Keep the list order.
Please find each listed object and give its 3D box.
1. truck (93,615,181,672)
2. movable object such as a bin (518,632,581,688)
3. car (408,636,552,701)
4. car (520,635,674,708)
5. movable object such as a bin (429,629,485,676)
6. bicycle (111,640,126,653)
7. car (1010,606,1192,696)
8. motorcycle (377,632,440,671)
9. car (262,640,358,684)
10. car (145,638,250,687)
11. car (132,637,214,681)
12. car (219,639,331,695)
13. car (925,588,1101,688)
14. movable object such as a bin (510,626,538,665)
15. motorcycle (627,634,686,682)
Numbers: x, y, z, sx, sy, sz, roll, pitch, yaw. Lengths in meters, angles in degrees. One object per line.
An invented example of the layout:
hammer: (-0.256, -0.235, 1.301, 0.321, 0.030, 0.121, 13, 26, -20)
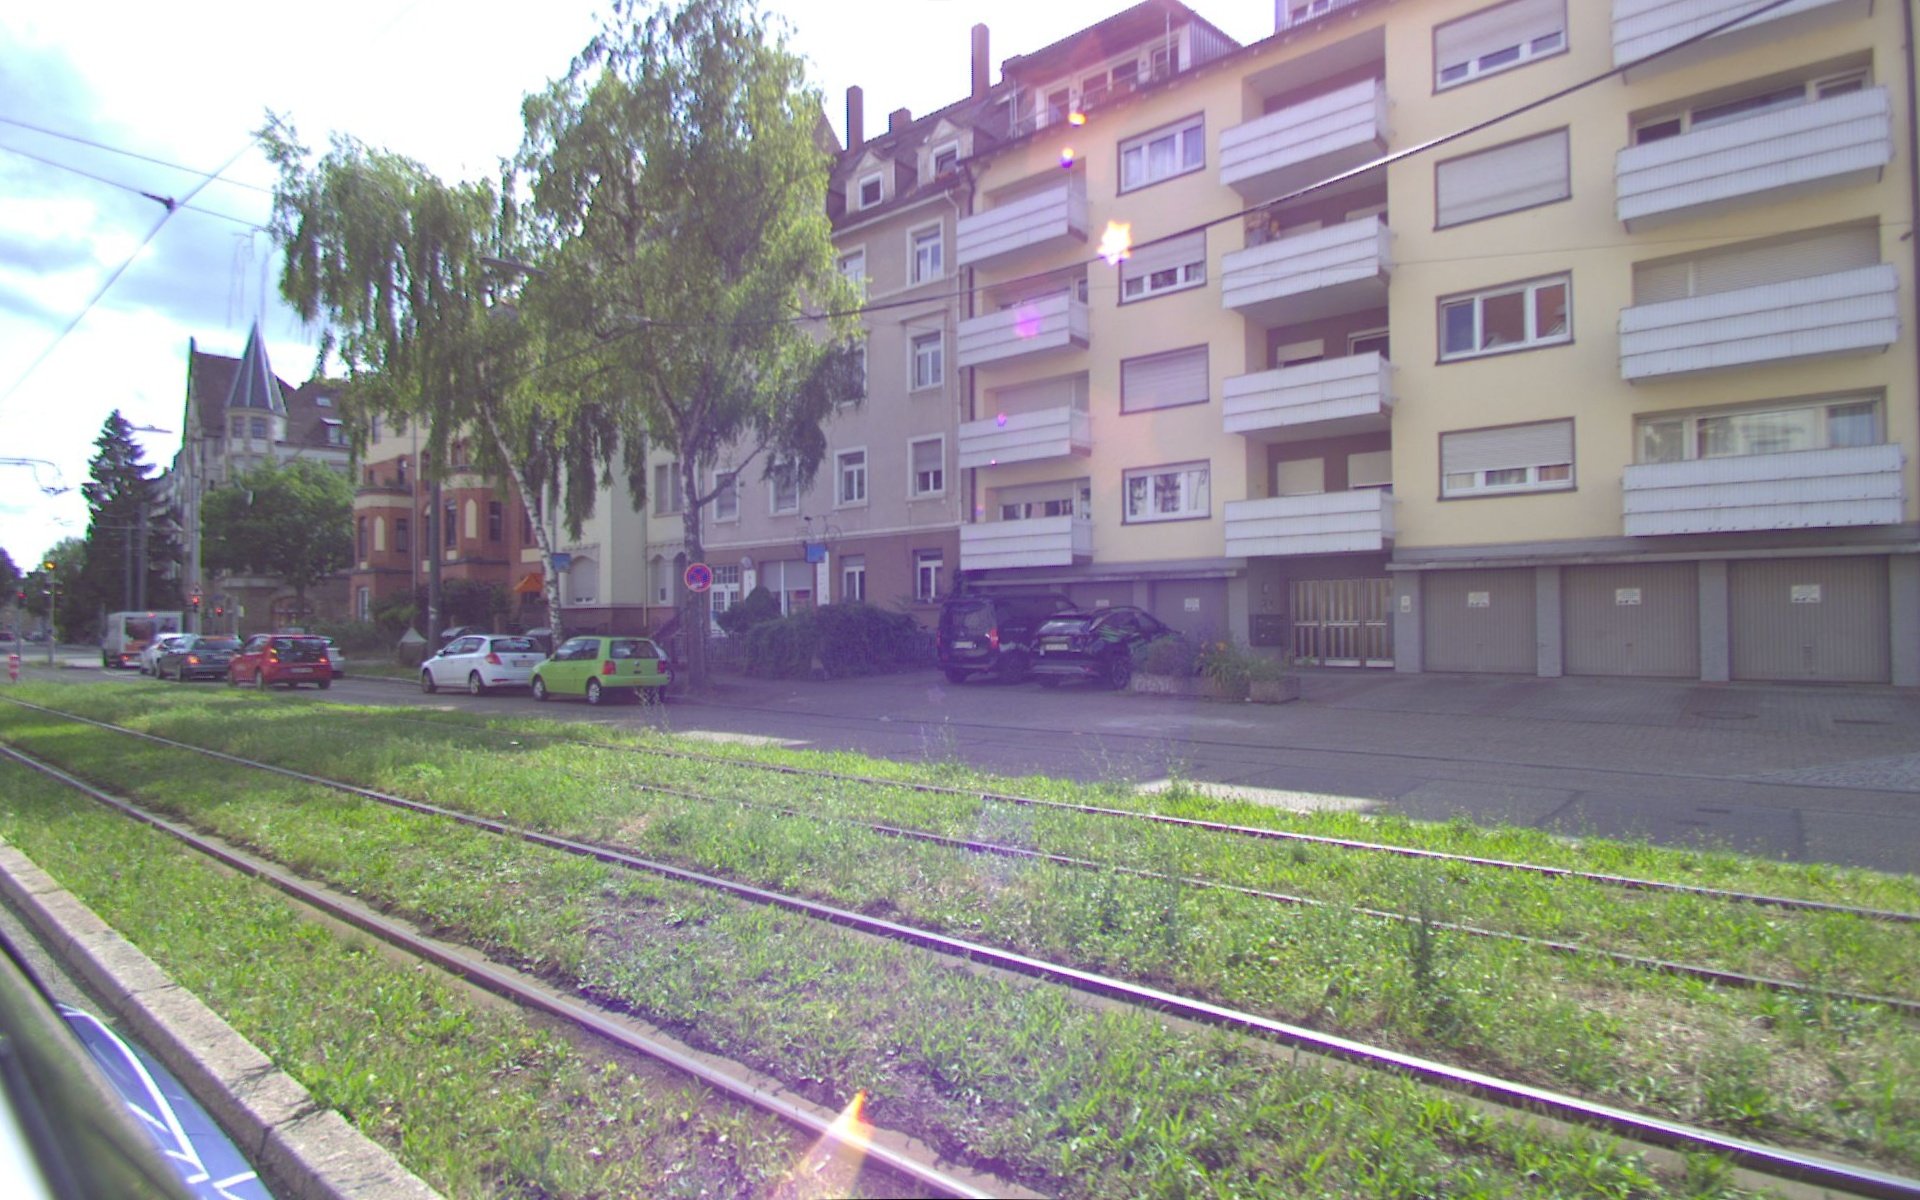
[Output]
truck: (-35.099, 1.833, 43.063, 6.614, 2.231, 2.160, -2, -3, 45)
movable object such as a bin: (-11.213, 1.615, 27.626, 1.520, 1.440, 0.941, -2, 0, 39)
car: (-11.952, 1.644, 25.080, 4.223, 1.489, 1.627, -2, -4, 41)
car: (-7.893, 1.492, 21.866, 3.612, 1.443, 1.577, -2, -3, 41)
movable object such as a bin: (-15.947, 1.650, 32.081, 1.520, 1.377, 0.942, -2, 3, 39)
bicycle: (-67.091, 3.682, 80.703, 2.336, 0.979, 0.616, -2, -2, 44)
car: (3.048, 1.001, 21.289, 1.971, 1.614, 3.947, -2, 0, 40)
motorcycle: (-18.329, 1.701, 33.623, 2.289, 1.252, 0.893, -2, -2, 34)
car: (-22.183, 2.074, 34.485, 3.993, 1.366, 1.736, -2, -2, 42)
car: (-23.845, 1.913, 31.590, 4.510, 1.366, 1.736, -1, -3, 42)
car: (-28.182, 2.079, 36.187, 4.135, 1.425, 1.735, -2, -4, 44)
car: (-18.351, 1.747, 27.080, 3.690, 1.397, 1.562, -2, -3, 41)
car: (1.288, 0.806, 23.298, 1.937, 2.029, 3.943, -2, 0, 43)
movable object such as a bin: (-15.372, 1.601, 35.664, 0.698, 1.372, 0.666, -2, -2, 37)
motorcycle: (-7.282, 1.382, 24.252, 1.631, 1.050, 0.494, -1, 2, 40)
